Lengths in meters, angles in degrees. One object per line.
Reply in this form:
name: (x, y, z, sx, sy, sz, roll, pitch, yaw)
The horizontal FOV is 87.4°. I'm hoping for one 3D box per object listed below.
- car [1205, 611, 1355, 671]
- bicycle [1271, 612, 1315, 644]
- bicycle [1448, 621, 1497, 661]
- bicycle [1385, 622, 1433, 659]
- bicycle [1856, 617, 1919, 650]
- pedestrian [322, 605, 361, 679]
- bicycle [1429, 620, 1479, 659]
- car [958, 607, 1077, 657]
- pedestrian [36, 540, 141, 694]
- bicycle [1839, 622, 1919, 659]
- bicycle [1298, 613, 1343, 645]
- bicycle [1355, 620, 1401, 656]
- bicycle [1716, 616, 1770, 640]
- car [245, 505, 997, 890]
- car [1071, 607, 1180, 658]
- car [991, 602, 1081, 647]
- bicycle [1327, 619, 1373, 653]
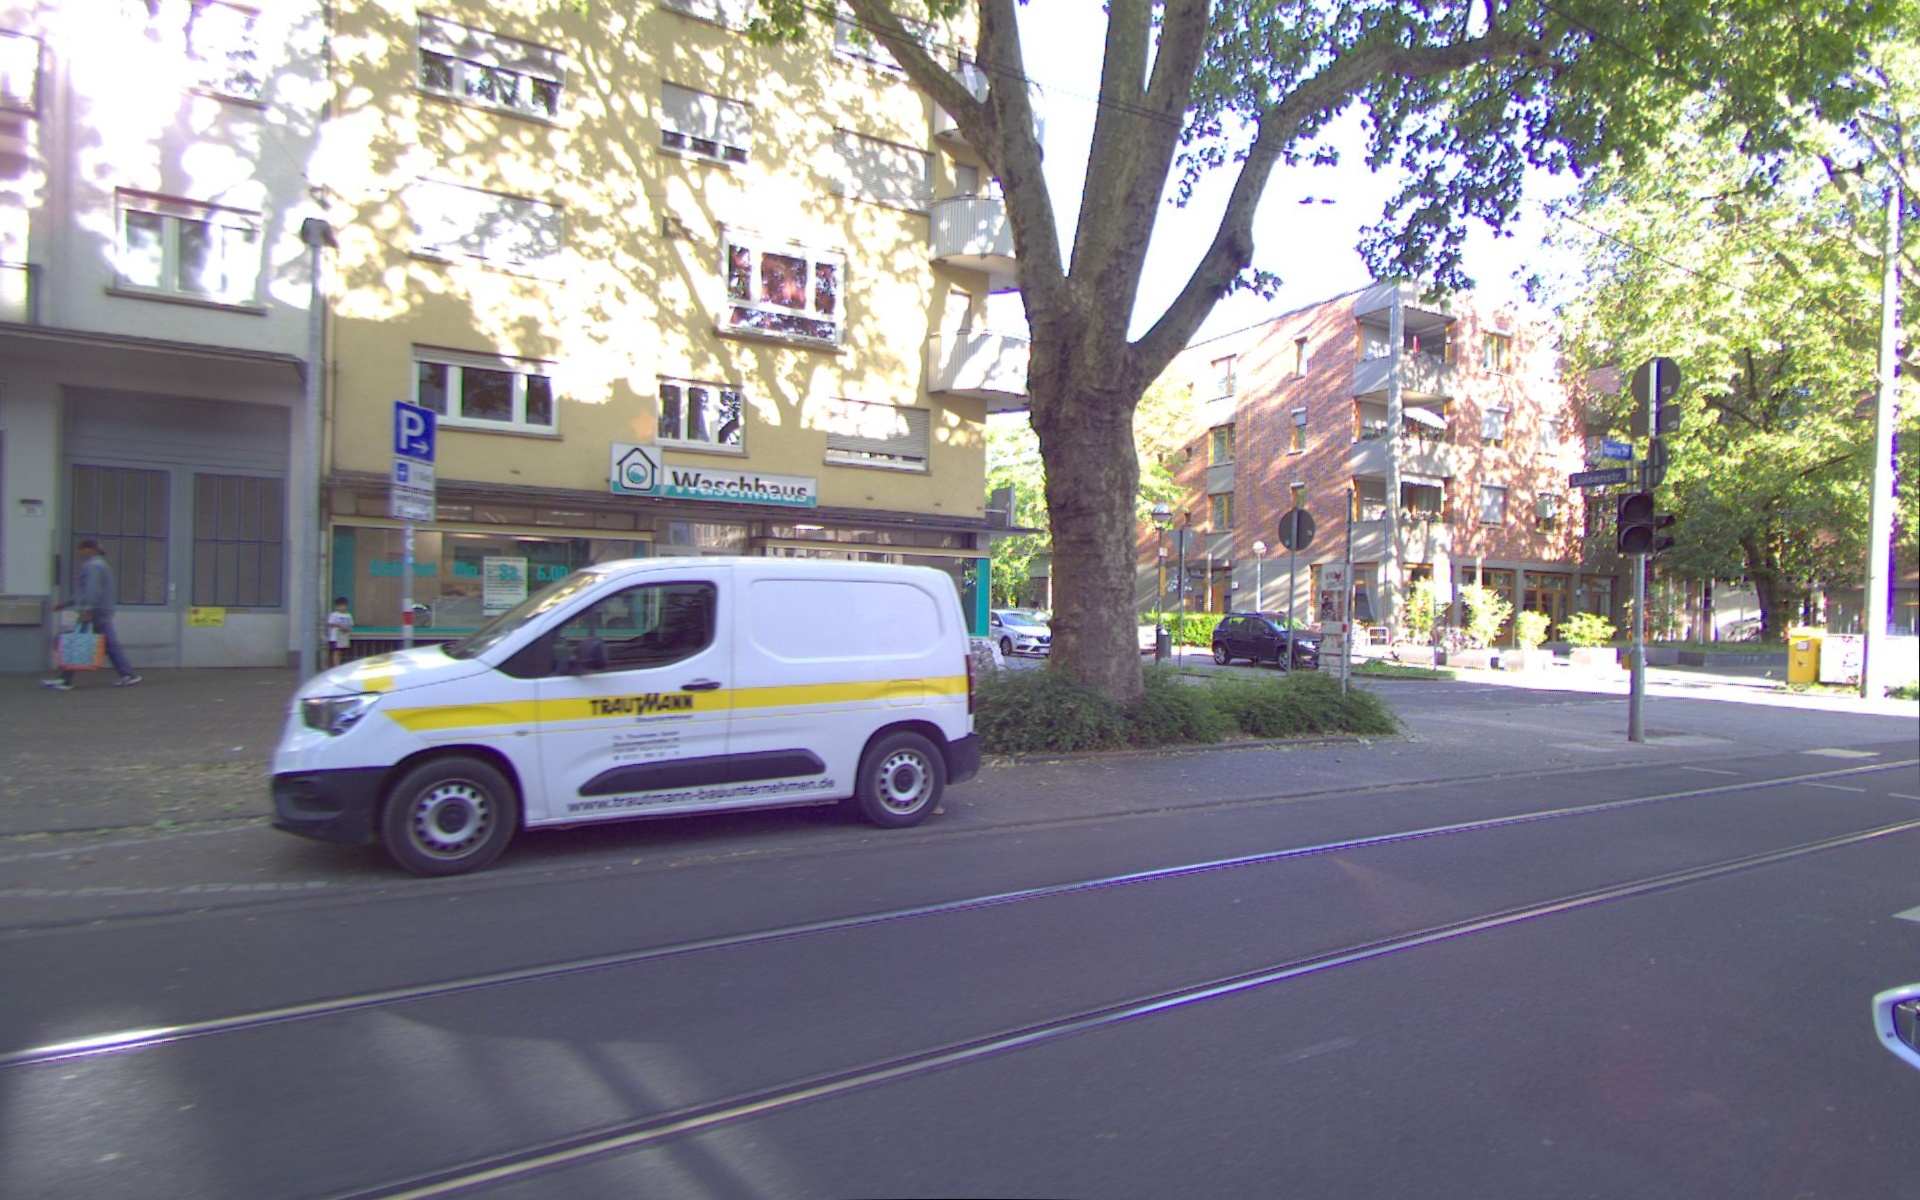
car: (9.396, 1.176, 29.828, 1.975, 1.528, 3.970, 2, 0, -28)
bicycle: (12.118, 1.020, 36.551, 1.619, 1.098, 0.539, 2, 1, -30)
bicycle: (15.223, 1.203, 29.833, 1.518, 1.099, 0.539, -1, 2, -30)
bicycle: (14.293, 1.279, 31.960, 1.619, 1.099, 0.539, 0, 2, -30)
bicycle: (36.914, 1.329, 39.554, 0.673, 1.182, 2.332, 2, 1, -27)
pedestrian: (-9.582, 0.643, 15.557, 0.434, 1.120, 0.416, 1, 1, -40)
bicycle: (14.933, 1.179, 30.386, 1.619, 1.099, 0.539, -1, 2, -30)
car: (1.758, 0.998, 32.097, 1.975, 1.394, 3.970, 2, 0, -28)
pedestrian: (-11.172, 0.218, 12.904, 0.854, 1.894, 0.741, 2, 1, -30)
bicycle: (36.033, 1.561, 39.217, 0.673, 1.235, 2.449, 2, 2, -27)
bicycle: (12.704, 1.025, 35.349, 1.619, 1.098, 0.539, 2, 1, -30)
bicycle: (13.785, 1.233, 33.134, 1.619, 1.099, 0.539, -1, 2, -30)
bicycle: (37.824, 1.347, 48.541, 0.760, 1.087, 1.921, 1, 1, -43)
car: (-2.038, 0.518, 6.725, 4.267, 1.875, 1.754, 2, 0, -30)
car: (5.955, 1.119, 36.556, 1.936, 1.684, 3.970, -1, 1, -28)
car: (3.122, 0.996, 41.894, 1.845, 1.684, 3.970, 2, 0, -28)
bicycle: (13.217, 1.215, 34.029, 1.619, 1.099, 0.539, 0, 1, -30)
